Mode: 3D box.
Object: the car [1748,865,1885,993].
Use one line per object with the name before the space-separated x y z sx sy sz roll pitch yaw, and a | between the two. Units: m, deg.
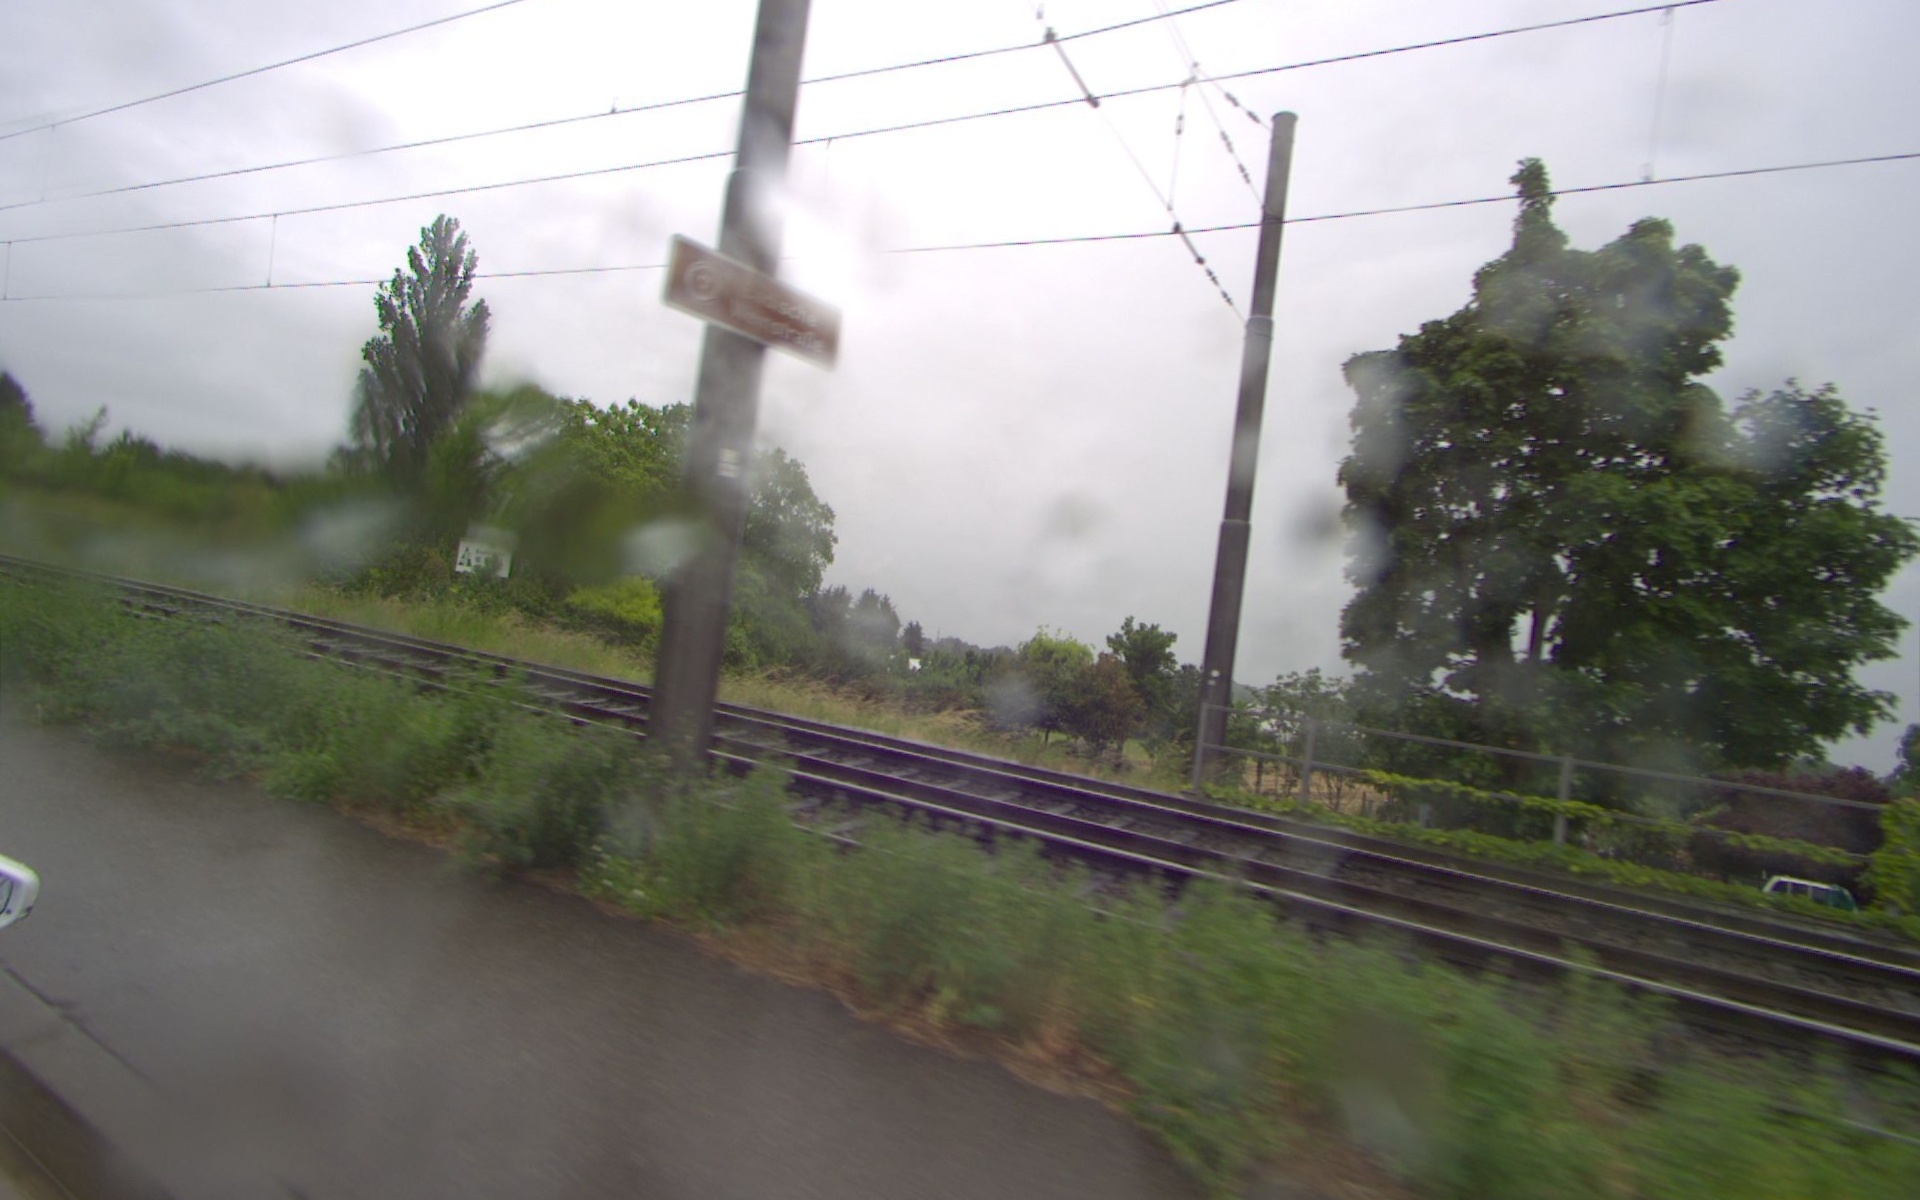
car | 17.313 6.556 20.482 1.851 1.654 4.186 5 -5 39
